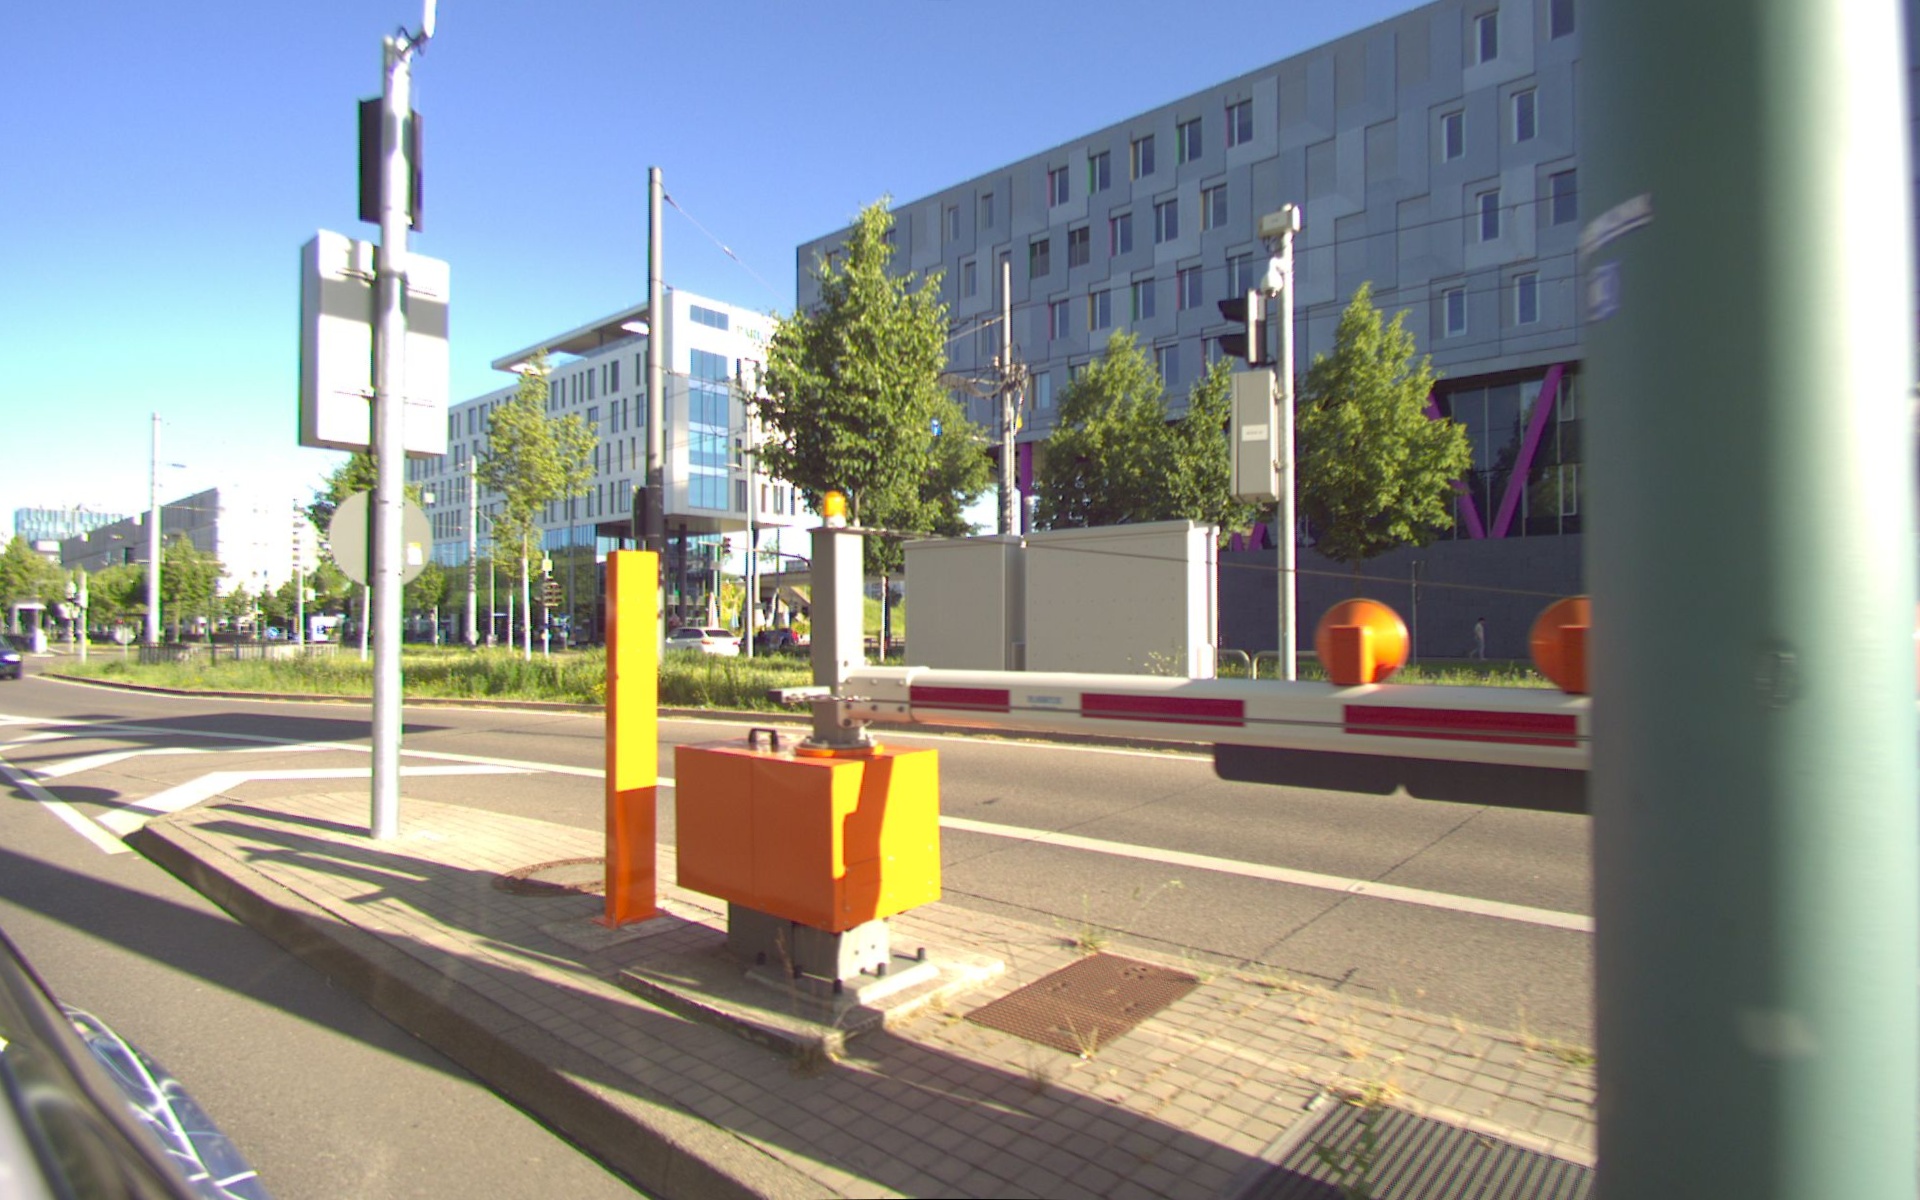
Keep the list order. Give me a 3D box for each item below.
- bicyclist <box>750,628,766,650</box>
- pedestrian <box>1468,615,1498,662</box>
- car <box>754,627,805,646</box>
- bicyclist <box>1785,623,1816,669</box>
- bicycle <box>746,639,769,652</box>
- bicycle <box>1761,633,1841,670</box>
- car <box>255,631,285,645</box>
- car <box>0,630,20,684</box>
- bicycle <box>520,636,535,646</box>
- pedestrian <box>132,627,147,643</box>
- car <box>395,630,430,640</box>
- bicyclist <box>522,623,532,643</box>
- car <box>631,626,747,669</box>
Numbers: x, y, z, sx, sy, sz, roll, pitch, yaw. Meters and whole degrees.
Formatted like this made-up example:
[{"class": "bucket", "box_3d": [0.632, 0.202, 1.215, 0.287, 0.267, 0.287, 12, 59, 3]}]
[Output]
[{"class": "bicyclist", "box_3d": [-13.589, 2.608, 68.011, 0.958, 1.446, 0.564, -2, -2, 40]}, {"class": "pedestrian", "box_3d": [20.573, 1.515, 39.796, 0.871, 1.836, 0.713, -2, -2, 42]}, {"class": "car", "box_3d": [-15.502, 3.129, 86.930, 2.001, 1.577, 3.942, -2, -2, 44]}, {"class": "bicyclist", "box_3d": [27.963, 1.518, 33.665, 0.763, 1.507, 0.552, -2, -2, 41]}, {"class": "bicycle", "box_3d": [-13.617, 3.061, 68.027, 1.691, 0.869, 0.570, -2, -2, 40]}, {"class": "bicycle", "box_3d": [27.691, 1.676, 33.350, 1.974, 1.181, 0.514, -2, -2, 42]}, {"class": "car", "box_3d": [-79.458, 4.364, 116.451, 4.340, 1.538, 1.780, -2, 0, 41]}, {"class": "car", "box_3d": [-29.583, 1.712, 30.163, 4.340, 1.538, 1.780, -2, 0, 41]}, {"class": "bicycle", "box_3d": [-37.755, 3.567, 88.339, 1.833, 0.869, 0.522, -2, -2, 43]}, {"class": "pedestrian", "box_3d": [-78.788, 3.386, 97.209, 1.053, 1.477, 0.845, 0, -1, -44]}, {"class": "car", "box_3d": [-78.364, 4.996, 144.853, 1.873, 1.365, 3.950, -2, 0, 37]}, {"class": "bicyclist", "box_3d": [-37.834, 2.922, 88.434, 0.837, 1.739, 0.524, -2, -2, 42]}, {"class": "car", "box_3d": [-10.682, 1.835, 39.689, 4.868, 1.574, 1.973, -2, -2, 40]}]
